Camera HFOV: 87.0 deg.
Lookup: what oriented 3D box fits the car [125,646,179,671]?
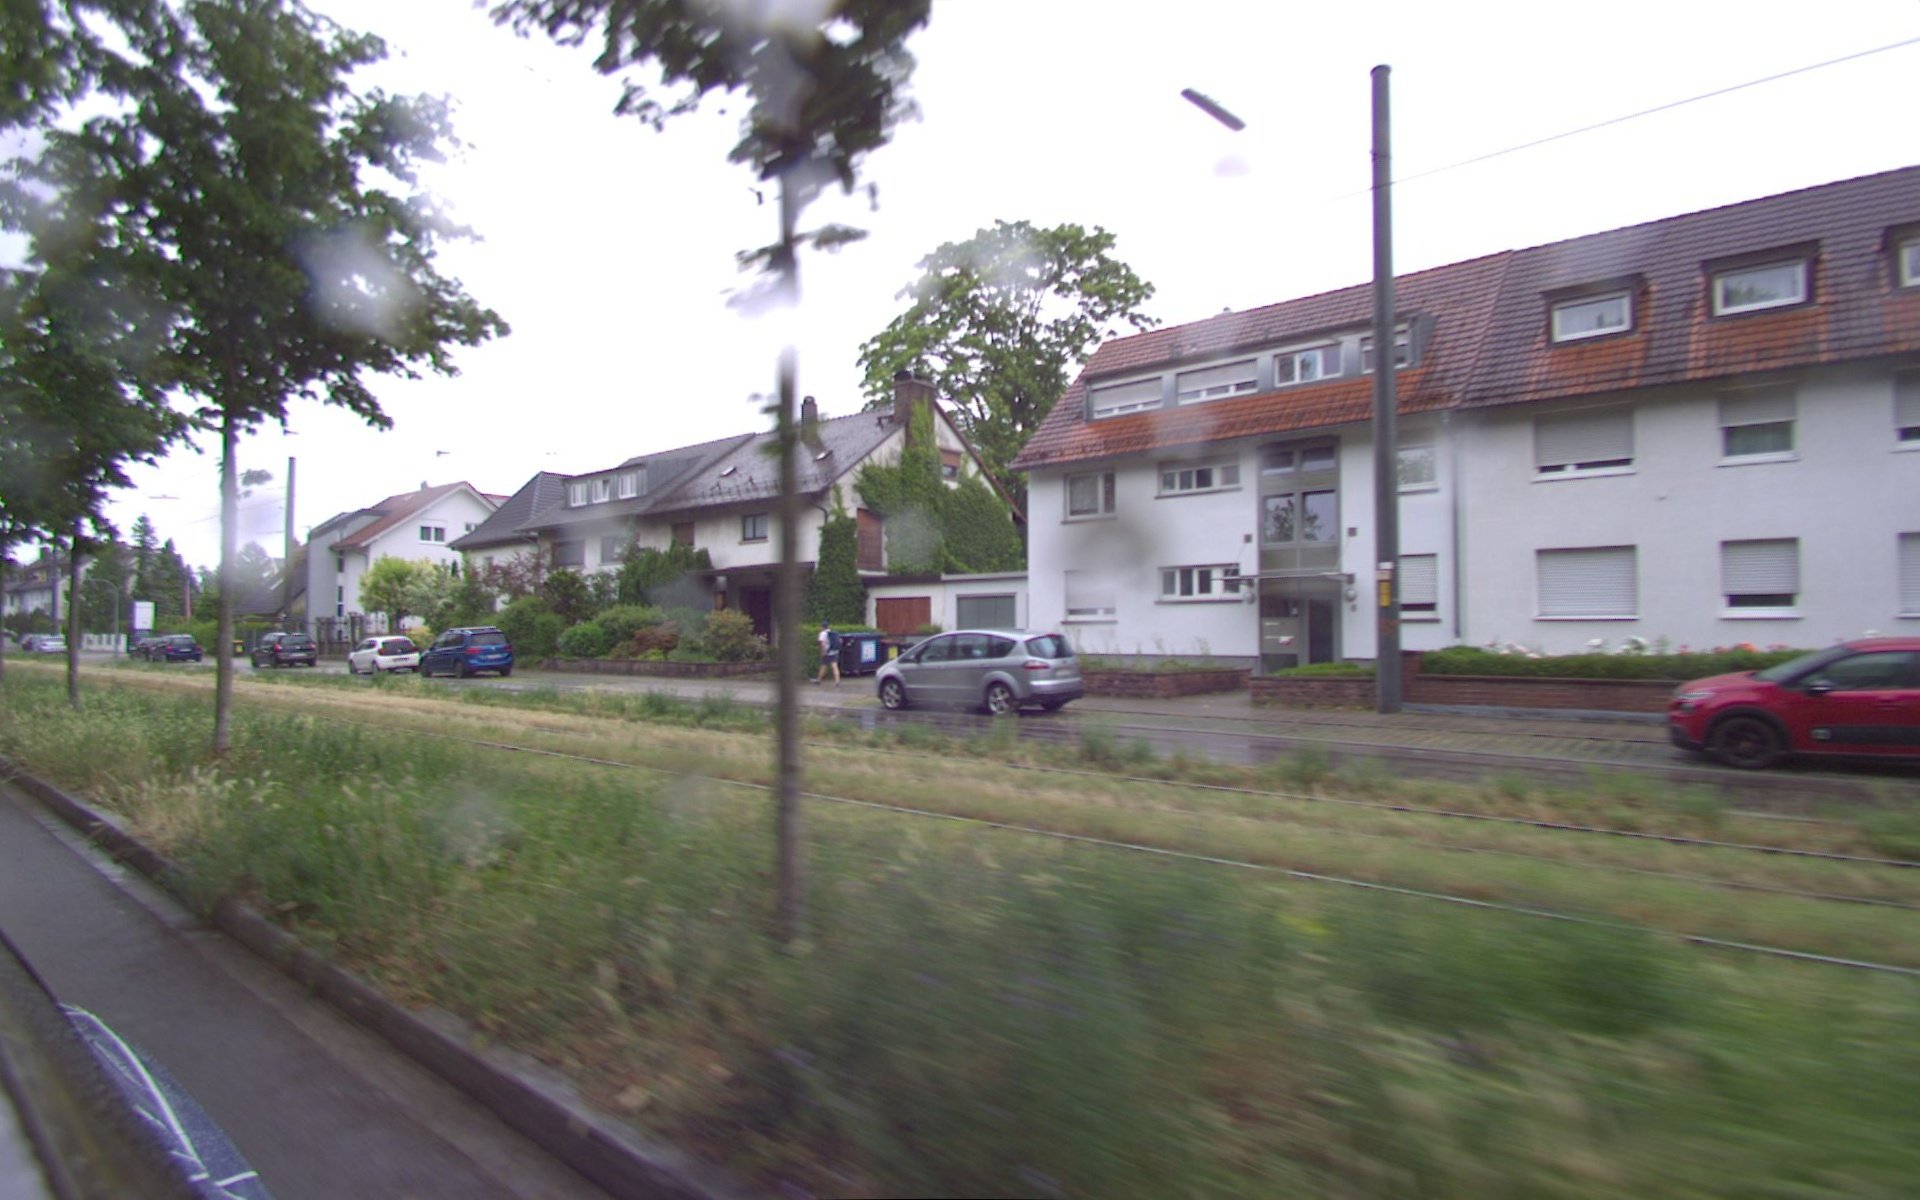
[{"bbox_3d":[-48.913,3.514,61.232,3.998,1.510,1.869,-2,-4,41],"label":"car"}]

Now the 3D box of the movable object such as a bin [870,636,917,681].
[{"bbox_3d":[-2.014,1.753,30.777,0.739,1.308,1.241,-2,-2,41],"label":"movable object such as a bin"}]

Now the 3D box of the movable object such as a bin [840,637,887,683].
[{"bbox_3d":[-2.840,1.763,29.879,0.739,1.308,1.172,-2,-2,41],"label":"movable object such as a bin"}]

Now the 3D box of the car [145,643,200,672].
[{"bbox_3d":[-45.499,3.287,58.468,3.852,1.527,1.736,-2,0,41],"label":"car"}]

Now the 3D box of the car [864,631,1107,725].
[{"bbox_3d":[0.406,1.464,20.167,4.682,1.626,1.972,-2,-2,42],"label":"car"}]

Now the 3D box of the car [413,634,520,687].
[{"bbox_3d":[-17.501,2.094,35.802,4.178,1.719,1.826,-2,-2,39],"label":"car"}]

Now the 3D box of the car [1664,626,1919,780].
[{"bbox_3d":[10.595,1.115,11.562,3.971,1.558,1.822,-2,0,42],"label":"car"}]

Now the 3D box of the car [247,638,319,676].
[{"bbox_3d":[-31.822,2.665,47.526,4.108,1.626,1.736,-2,0,41],"label":"car"}]

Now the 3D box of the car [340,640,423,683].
[{"bbox_3d":[-23.033,2.400,40.268,3.598,1.540,1.696,-2,0,40],"label":"car"}]

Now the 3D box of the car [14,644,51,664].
[{"bbox_3d":[-75.441,4.364,82.276,3.852,1.527,1.736,-2,0,41],"label":"car"}]

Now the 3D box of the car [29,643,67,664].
[{"bbox_3d":[-71.752,4.192,79.603,3.852,1.527,1.736,-2,0,41],"label":"car"}]

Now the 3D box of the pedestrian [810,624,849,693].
[{"bbox_3d":[-3.467,1.546,26.894,0.868,1.781,0.592,-2,-2,41],"label":"pedestrian"}]
